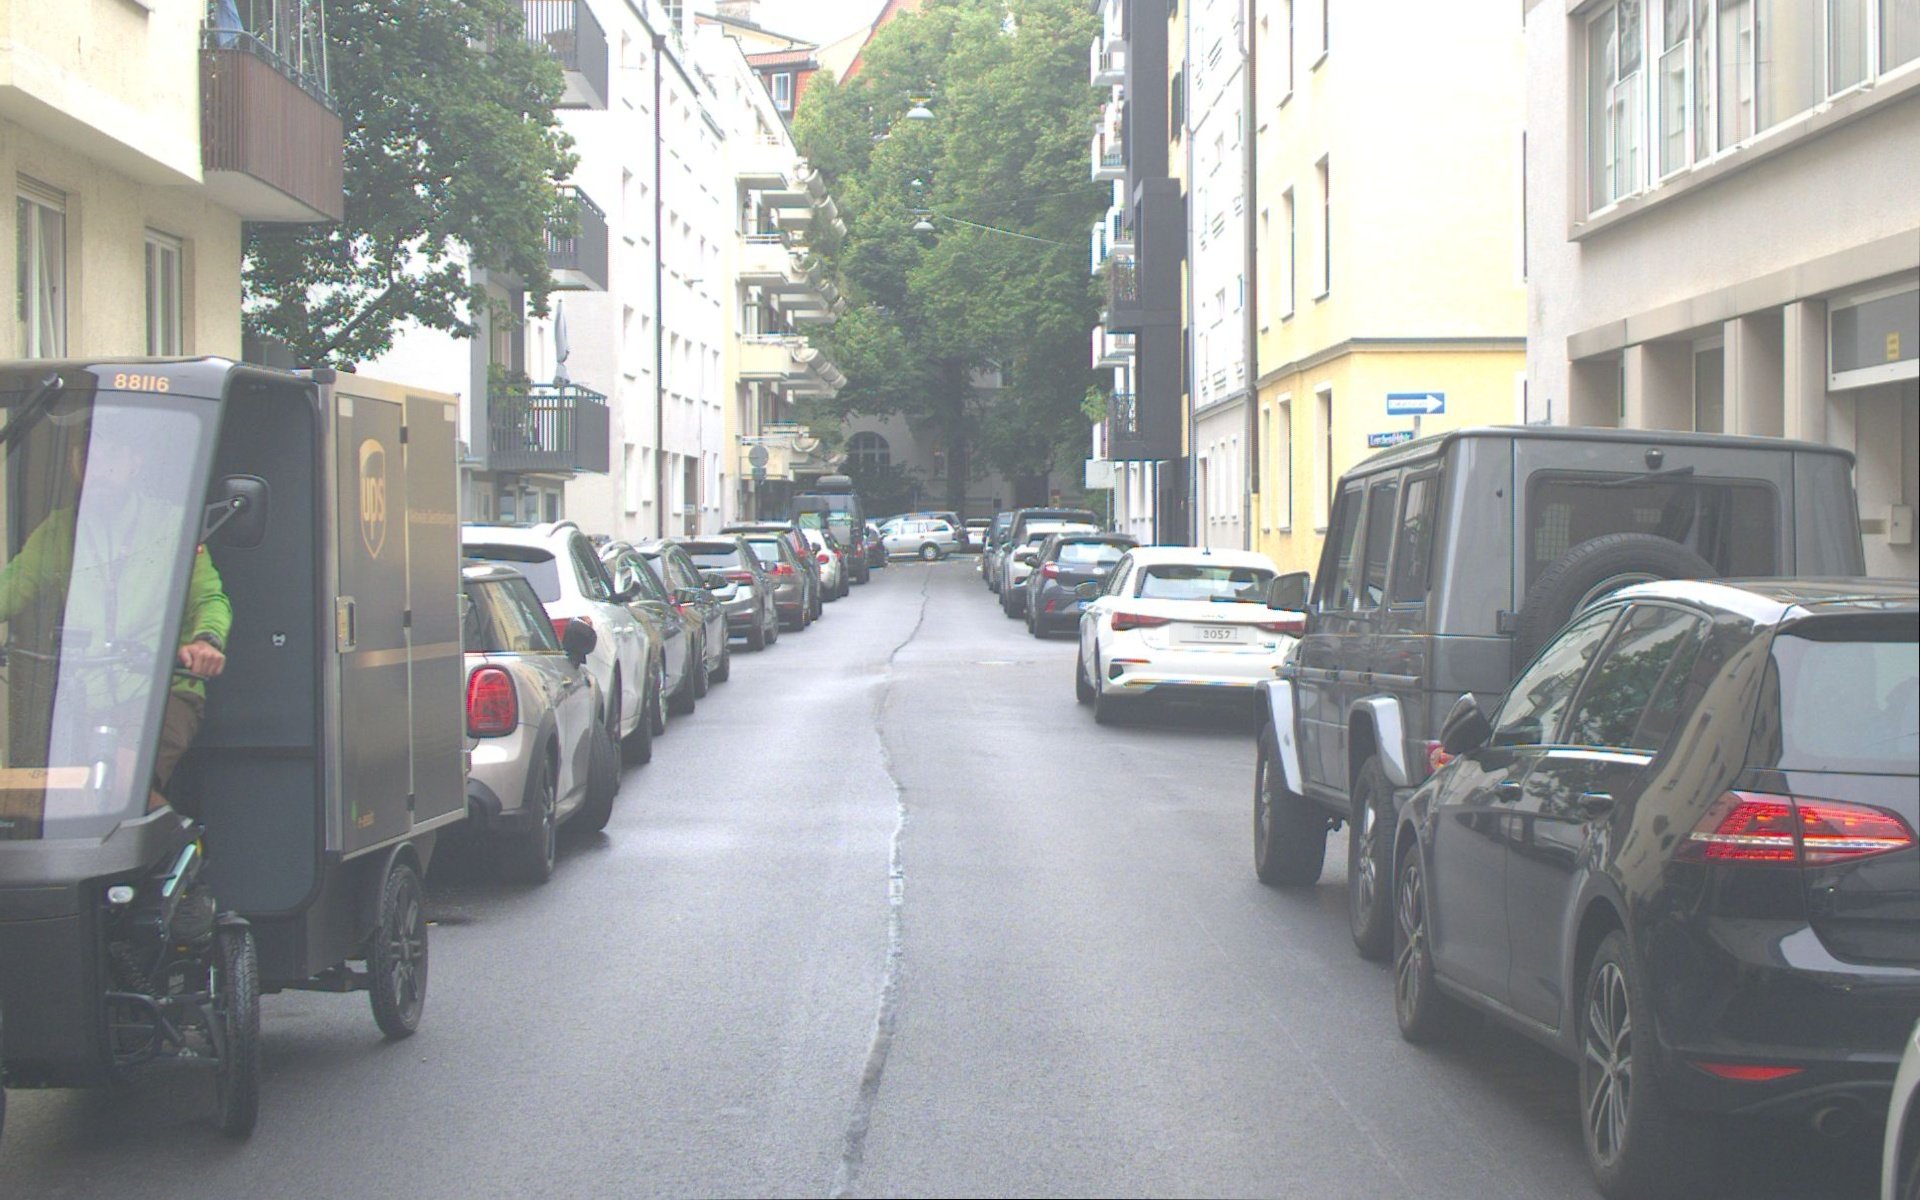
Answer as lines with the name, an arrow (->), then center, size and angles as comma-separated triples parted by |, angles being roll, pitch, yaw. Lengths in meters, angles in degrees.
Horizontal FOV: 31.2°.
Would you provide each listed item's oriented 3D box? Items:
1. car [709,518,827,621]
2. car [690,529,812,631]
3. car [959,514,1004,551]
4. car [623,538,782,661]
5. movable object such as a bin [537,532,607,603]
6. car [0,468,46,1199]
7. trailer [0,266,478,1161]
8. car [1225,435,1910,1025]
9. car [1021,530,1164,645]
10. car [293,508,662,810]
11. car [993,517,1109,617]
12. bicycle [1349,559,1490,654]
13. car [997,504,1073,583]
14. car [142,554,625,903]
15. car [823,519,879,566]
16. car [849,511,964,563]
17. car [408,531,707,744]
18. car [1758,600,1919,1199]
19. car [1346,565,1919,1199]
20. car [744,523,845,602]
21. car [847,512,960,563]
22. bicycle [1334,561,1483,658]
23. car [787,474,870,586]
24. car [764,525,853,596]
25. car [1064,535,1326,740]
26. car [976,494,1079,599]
car -> -3.184, -0.547, 57.679 | 1.776, 1.623, 4.415 | -1, 1, -1
car -> -3.117, -0.334, 51.784 | 1.693, 1.437, 3.978 | -1, 1, -2
car -> 0.833, -2.697, 136.188 | 1.642, 1.379, 3.746 | -3, 1, -1
car -> -3.233, -0.038, 43.819 | 1.693, 1.437, 3.942 | -1, 1, 0
movable object such as a bin -> -7.553, -0.633, 66.978 | 1.166, 1.332, 1.025 | -2, 1, 3
car -> -2.622, 0.642, 3.974 | 1.879, 1.654, 4.415 | -1, 1, 1
trailer -> -2.347, 0.249, 9.787 | 1.355, 2.108, 3.318 | 1, 0, 2
car -> 2.263, 0.392, 14.017 | 1.750, 1.968, 4.344 | 2, 1, -3
car -> 1.840, -0.209, 49.068 | 1.751, 1.464, 4.343 | 3, 1, -1
car -> -2.894, 0.299, 21.465 | 1.765, 1.669, 4.368 | -1, 1, -1
car -> 1.531, -0.596, 59.071 | 1.682, 1.562, 4.416 | 2, 1, -2
bicycle -> 5.808, 0.079, 43.473 | 1.713, 1.135, 0.374 | -1, 3, -1
car -> 2.012, -1.558, 93.481 | 1.829, 1.992, 4.416 | 3, 1, -1
car -> -2.601, 0.515, 16.310 | 1.652, 1.431, 3.803 | -1, 1, 0
car -> -3.440, -1.840, 109.174 | 1.642, 1.379, 3.483 | -3, 1, -1
car -> -1.873, -2.189, 119.181 | 3.885, 1.579, 1.648 | -3, 1, -1
car -> -3.080, 0.228, 27.132 | 1.766, 1.478, 4.424 | -1, 2, 1
car -> 2.373, 0.782, 3.996 | 1.711, 1.481, 4.245 | 1, 1, -3
car -> 2.249, 0.667, 9.317 | 1.711, 1.481, 4.245 | 1, 1, -3
car -> -3.360, -0.796, 70.579 | 1.777, 1.482, 4.519 | -3, 1, 0
car -> -2.011, -2.208, 121.289 | 3.885, 1.579, 1.648 | -3, 1, -1
bicycle -> 5.733, 0.116, 43.995 | 1.808, 1.170, 0.505 | -1, 3, -2
car -> -3.443, -1.850, 90.563 | 1.936, 2.792, 4.533 | -3, 1, -1
car -> -3.313, -0.893, 75.921 | 1.776, 1.448, 4.046 | -3, 1, -1
car -> 1.910, 0.262, 29.017 | 1.819, 1.403, 3.953 | 1, 4, -1
car -> 1.270, -1.060, 66.689 | 1.829, 1.903, 4.416 | 2, 1, 0
